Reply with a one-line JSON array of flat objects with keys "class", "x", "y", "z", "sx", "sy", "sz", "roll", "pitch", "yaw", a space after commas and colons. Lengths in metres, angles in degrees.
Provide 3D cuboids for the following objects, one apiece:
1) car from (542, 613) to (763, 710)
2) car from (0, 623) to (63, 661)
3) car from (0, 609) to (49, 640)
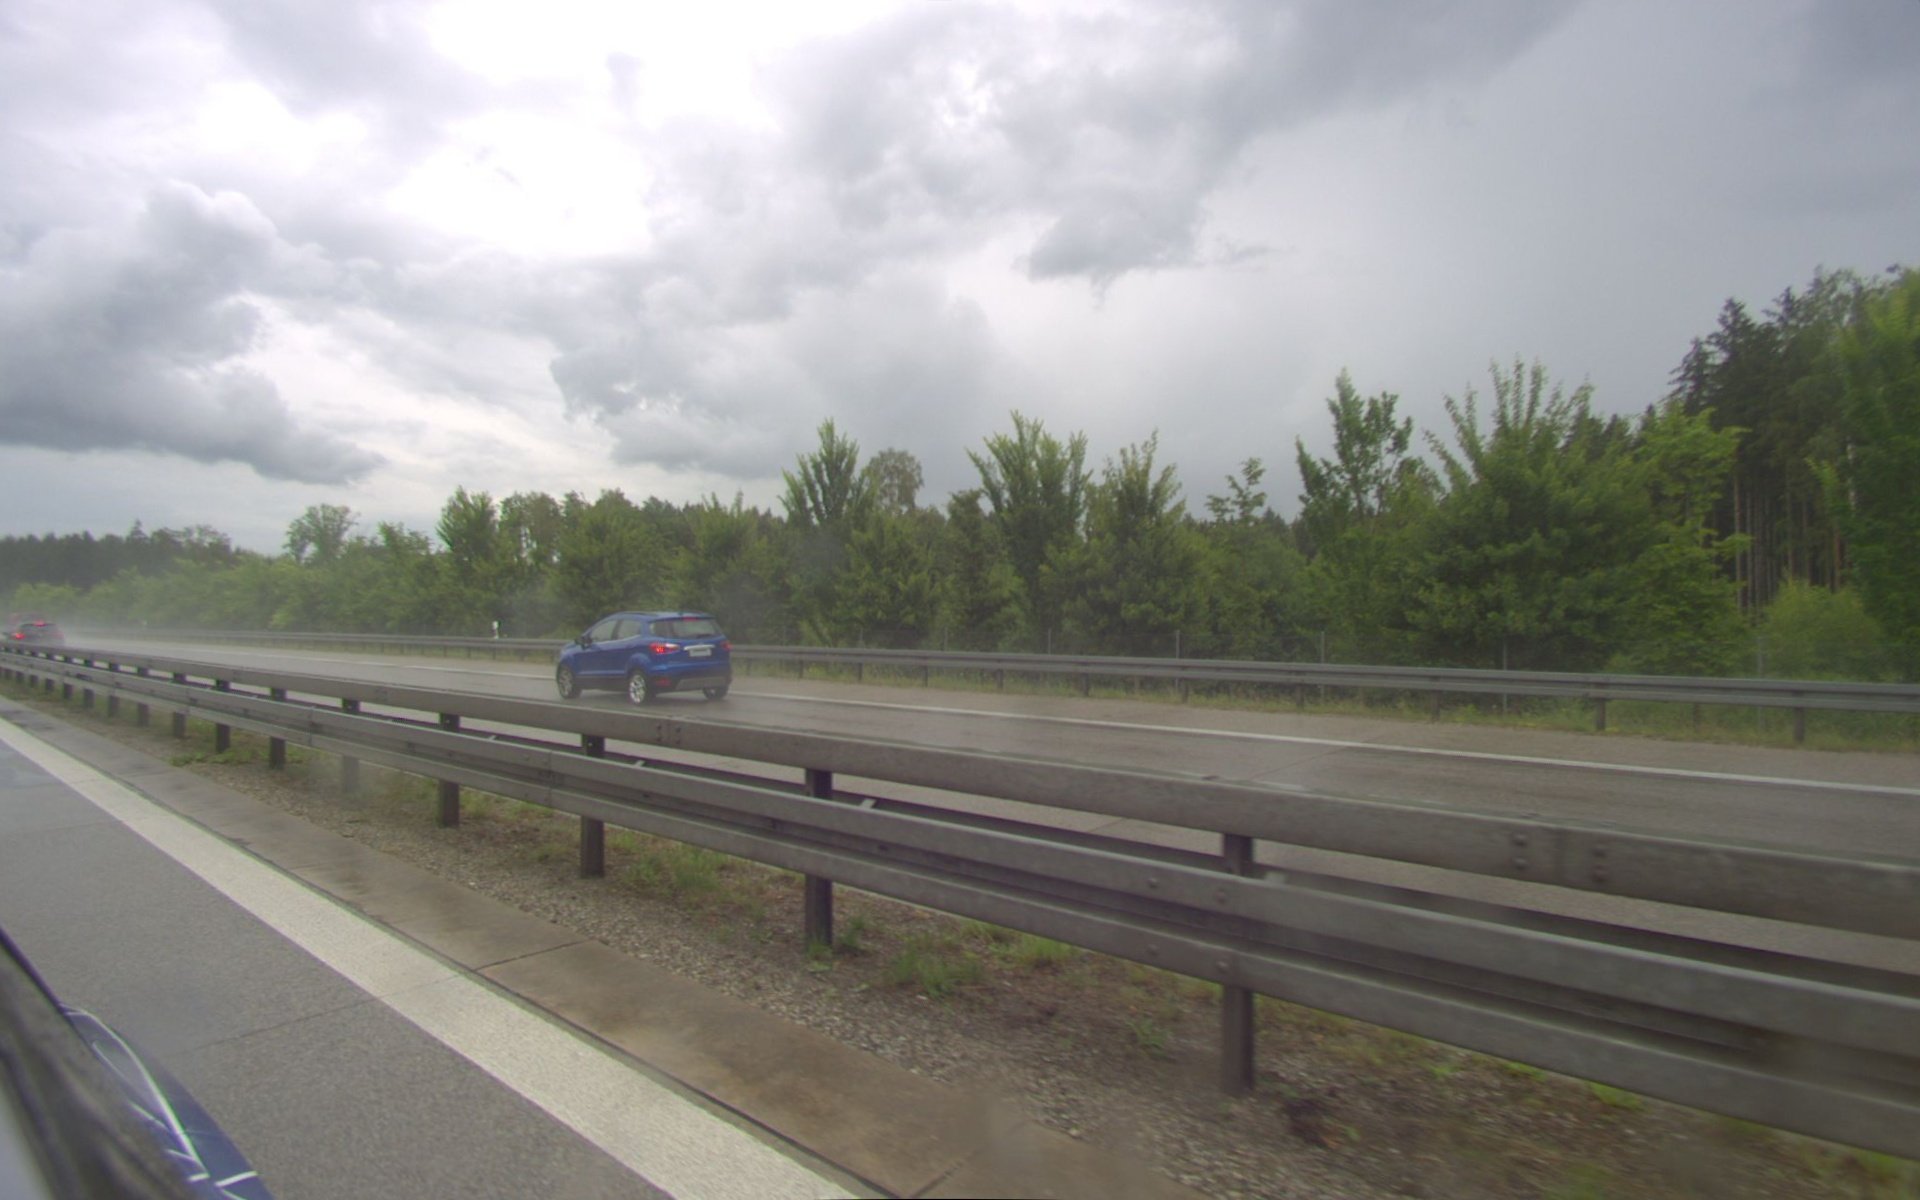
[{"class": "car", "x": -5.664, "y": 1.017, "z": 18.410, "sx": 4.218, "sy": 1.510, "sz": 1.882, "roll": 0, "pitch": 0, "yaw": 40}, {"class": "car", "x": -40.666, "y": 1.792, "z": 44.119, "sx": 4.019, "sy": 1.510, "sz": 1.809, "roll": 0, "pitch": 0, "yaw": 40}, {"class": "car", "x": -67.131, "y": 1.797, "z": 72.513, "sx": 5.309, "sy": 2.080, "sz": 1.973, "roll": -2, "pitch": -4, "yaw": 40}]
